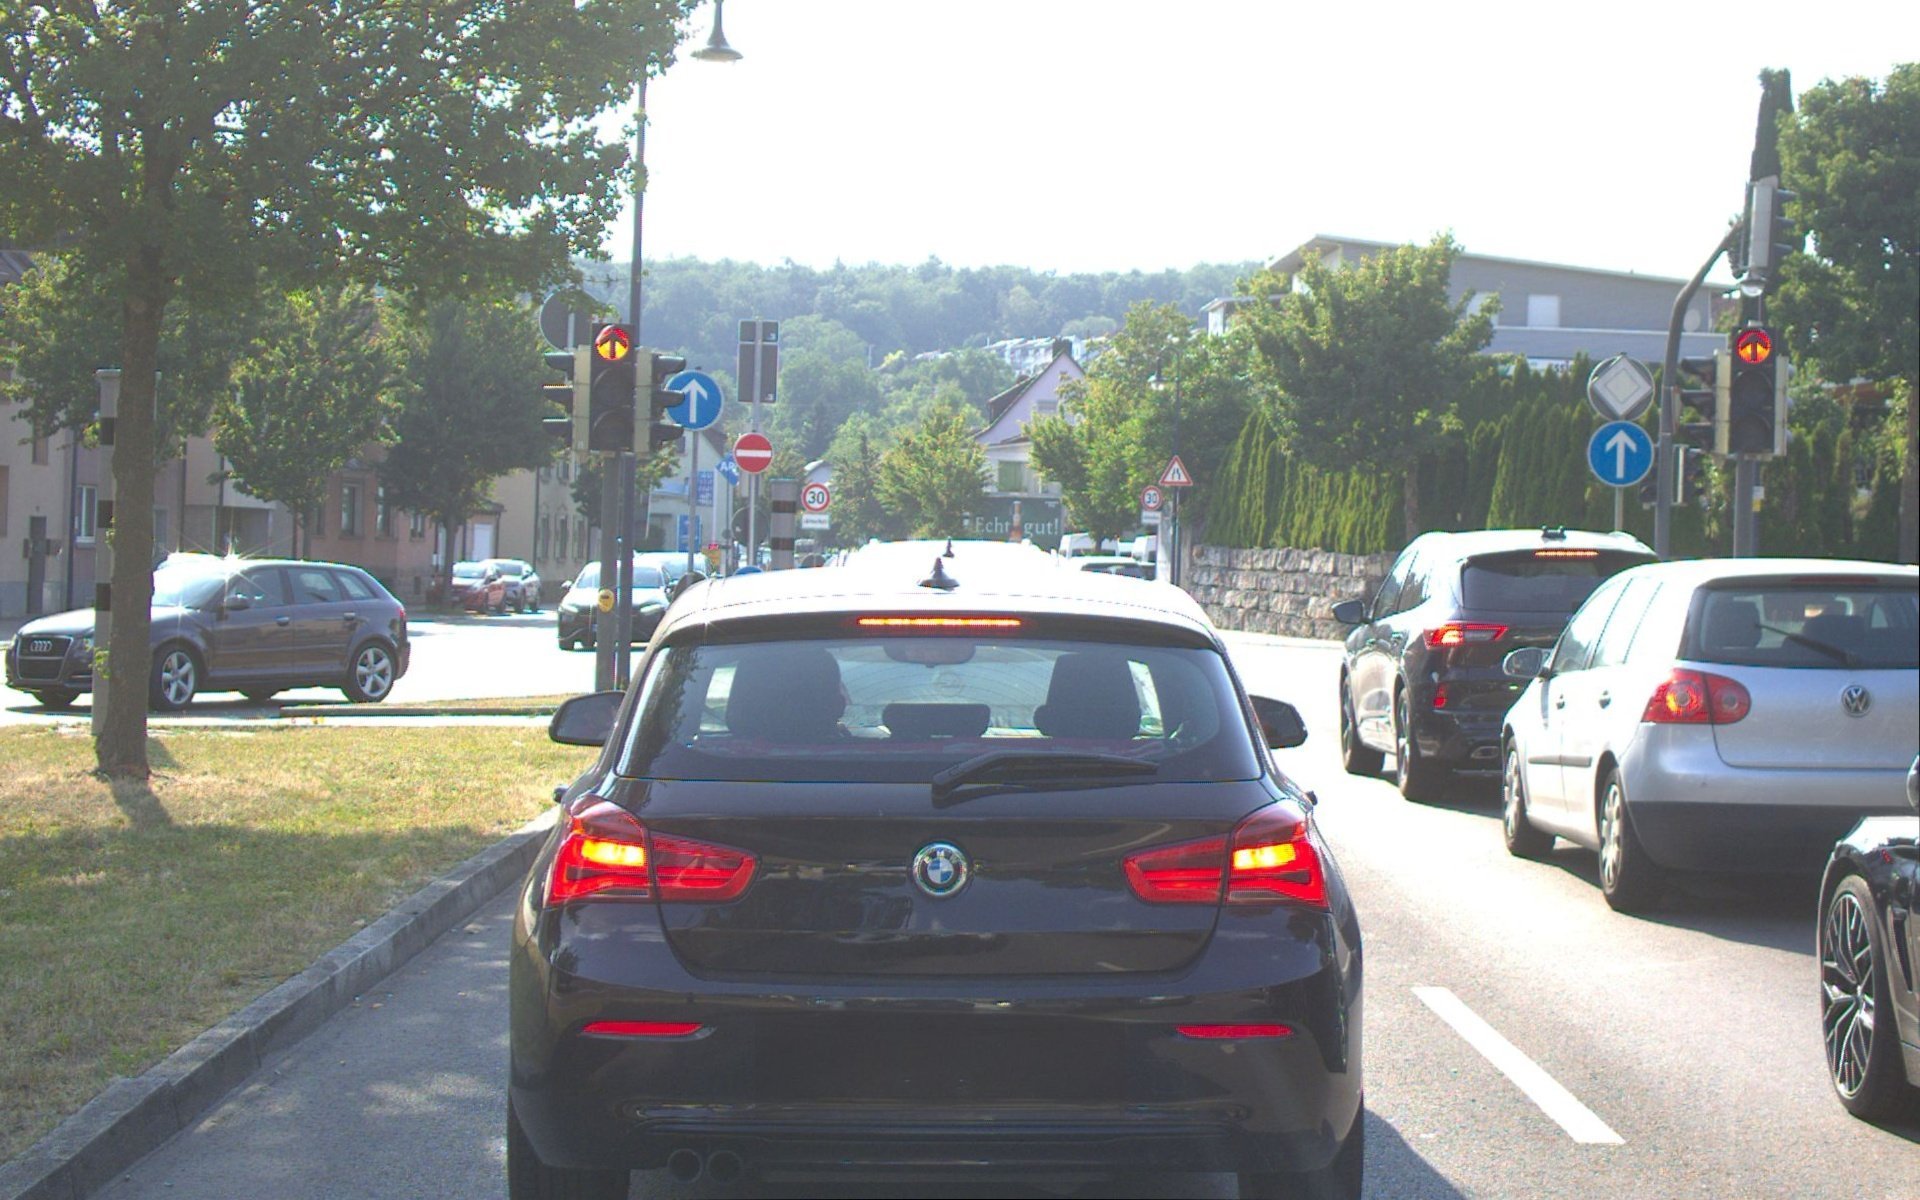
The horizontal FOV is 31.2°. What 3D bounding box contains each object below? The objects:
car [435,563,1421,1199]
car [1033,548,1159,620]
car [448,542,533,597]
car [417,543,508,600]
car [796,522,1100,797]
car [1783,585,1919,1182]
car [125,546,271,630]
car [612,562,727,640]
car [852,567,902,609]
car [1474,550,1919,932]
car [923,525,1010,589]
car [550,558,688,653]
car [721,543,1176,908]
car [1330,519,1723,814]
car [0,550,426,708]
[{"bbox_3d":[-0.029,0.640,8.460,1.791,1.410,4.347,1,1,1],"label":"car"},{"bbox_3d":[2.926,-0.373,75.024,1.861,1.480,4.660,1,1,-9],"label":"car"},{"bbox_3d":[-14.229,-0.939,104.417,1.924,1.590,4.000,1,1,1],"label":"car"},{"bbox_3d":[-14.288,-0.840,98.912,1.924,1.590,4.000,1,1,1],"label":"car"},{"bbox_3d":[-0.038,0.319,22.842,1.816,1.635,4.242,1,1,1],"label":"car"},{"bbox_3d":[3.163,0.701,7.325,1.816,1.384,4.347,1,1,1],"label":"car"},{"bbox_3d":[-15.084,-0.261,68.251,1.924,1.590,4.000,1,1,1],"label":"car"},{"bbox_3d":[-5.329,-0.003,63.542,1.693,1.348,4.000,1,1,1],"label":"car"},{"bbox_3d":[-3.292,-0.491,136.749,1.924,1.590,4.000,1,1,-1],"label":"car"},{"bbox_3d":[3.509,0.514,15.368,1.816,1.441,4.347,1,1,1],"label":"car"},{"bbox_3d":[0.161,-1.185,93.801,1.890,1.696,4.525,0,1,-6],"label":"car"},{"bbox_3d":[-5.566,0.066,56.476,1.766,1.453,4.000,1,1,1],"label":"car"},{"bbox_3d":[-0.014,0.470,15.974,1.816,1.446,4.242,1,1,1],"label":"car"},{"bbox_3d":[3.466,0.340,21.807,1.816,1.660,4.347,1,1,1],"label":"car"},{"bbox_3d":[-7.169,0.237,32.811,1.648,1.382,4.181,2,1,35],"label":"car"}]
